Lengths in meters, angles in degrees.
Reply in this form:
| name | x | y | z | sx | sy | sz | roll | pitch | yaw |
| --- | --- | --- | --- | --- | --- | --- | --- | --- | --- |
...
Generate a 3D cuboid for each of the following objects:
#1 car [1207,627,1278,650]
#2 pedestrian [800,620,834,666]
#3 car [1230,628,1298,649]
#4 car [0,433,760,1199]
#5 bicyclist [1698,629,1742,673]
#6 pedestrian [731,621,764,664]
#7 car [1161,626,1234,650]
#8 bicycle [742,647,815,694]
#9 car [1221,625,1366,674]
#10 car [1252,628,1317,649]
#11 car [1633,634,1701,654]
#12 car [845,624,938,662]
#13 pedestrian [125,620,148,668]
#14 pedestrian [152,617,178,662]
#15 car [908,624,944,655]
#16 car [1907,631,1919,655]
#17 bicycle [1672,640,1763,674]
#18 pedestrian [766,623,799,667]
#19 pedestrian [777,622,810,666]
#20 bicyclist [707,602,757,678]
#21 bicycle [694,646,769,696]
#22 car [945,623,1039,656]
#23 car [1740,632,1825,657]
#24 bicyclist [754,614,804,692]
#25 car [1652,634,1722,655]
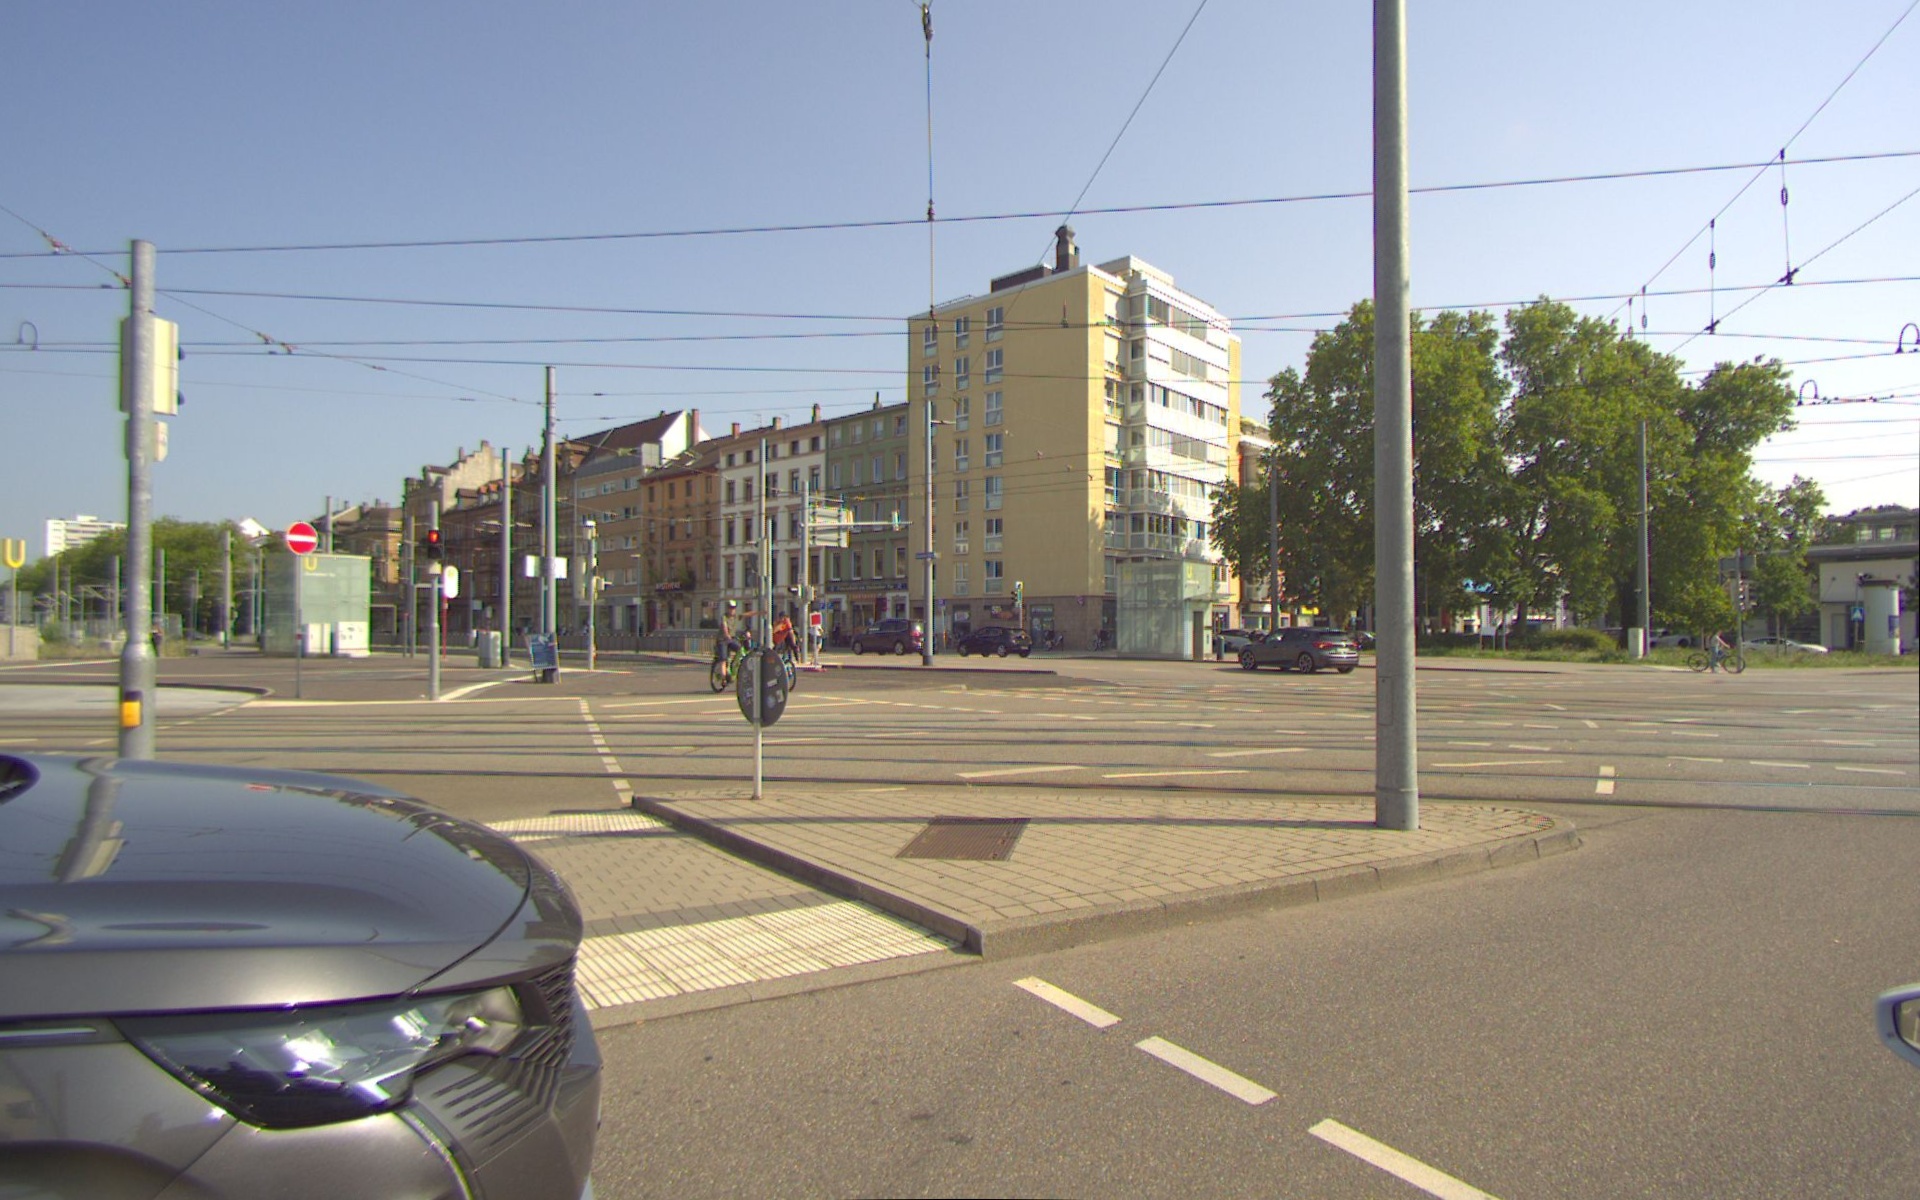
| name | x | y | z | sx | sy | sz | roll | pitch | yaw |
| --- | --- | --- | --- | --- | --- | --- | --- | --- | --- |
| car | 18.108 | 2.440 | 64.533 | 4.107 | 1.372 | 1.571 | -1 | -2 | 40 |
| pedestrian | -5.433 | 1.615 | 38.116 | 0.911 | 1.712 | 0.918 | 0 | -1 | 41 |
| car | 20.392 | 2.579 | 67.538 | 4.107 | 1.372 | 1.571 | -1 | -2 | 40 |
| car | -2.560 | 0.584 | 1.083 | 4.319 | 1.511 | 1.675 | 1 | -2 | -29 |
| bicyclist | 28.080 | 1.884 | 37.113 | 1.150 | 1.547 | 0.955 | 2 | 0 | 45 |
| pedestrian | -8.561 | 1.694 | 40.499 | 0.911 | 1.712 | 0.918 | 0 | -1 | 41 |
| car | 14.285 | 2.277 | 60.524 | 4.107 | 1.372 | 1.474 | -1 | -2 | 40 |
| bicycle | -3.991 | 1.529 | 22.014 | 0.721 | 0.944 | 1.796 | 1 | -2 | -42 |
| car | 10.646 | 1.548 | 32.407 | 1.814 | 1.454 | 4.520 | 1 | -1 | -26 |
| car | 22.761 | 2.668 | 70.526 | 4.107 | 1.372 | 1.571 | -1 | -2 | 40 |
| car | 58.249 | 3.591 | 82.790 | 4.426 | 1.543 | 1.705 | 1 | -1 | 0 |
| car | -3.307 | 2.012 | 48.076 | 4.488 | 1.701 | 1.988 | -1 | -2 | 44 |
| pedestrian | -32.965 | 1.738 | 40.217 | 0.646 | 1.891 | 0.714 | 1 | -1 | -35 |
| pedestrian | -32.293 | 1.584 | 40.799 | 0.745 | 1.806 | 0.700 | 1 | -1 | -35 |
| car | -1.955 | 2.198 | 56.654 | 1.961 | 1.701 | 4.549 | 1 | -1 | -3 |
| car | 65.337 | 2.895 | 67.200 | 4.048 | 1.543 | 1.693 | 1 | -1 | -28 |
| bicycle | 28.011 | 2.102 | 37.174 | 0.955 | 1.071 | 2.573 | 2 | 0 | -45 |
| pedestrian | -7.144 | 1.802 | 40.359 | 0.911 | 1.712 | 0.918 | 0 | -1 | 41 |
| pedestrian | -6.542 | 1.709 | 39.432 | 0.911 | 1.712 | 0.918 | 0 | -1 | 41 |
| bicyclist | -4.755 | 0.826 | 20.953 | 0.721 | 1.547 | 0.787 | 1 | -2 | -43 |
| bicycle | -4.787 | 1.463 | 20.970 | 0.721 | 0.944 | 1.796 | 1 | -2 | -42 |
| car | 1.475 | 1.834 | 47.209 | 4.307 | 1.511 | 1.680 | -1 | -2 | 40 |
| car | 54.317 | 2.923 | 66.416 | 1.683 | 1.542 | 4.072 | 1 | -2 | -26 |
| bicyclist | -3.974 | 1.144 | 21.996 | 0.721 | 1.674 | 0.873 | 1 | -2 | -43 |
| car | 58.260 | 3.563 | 80.531 | 4.426 | 1.543 | 1.705 | 1 | -1 | 0 |
